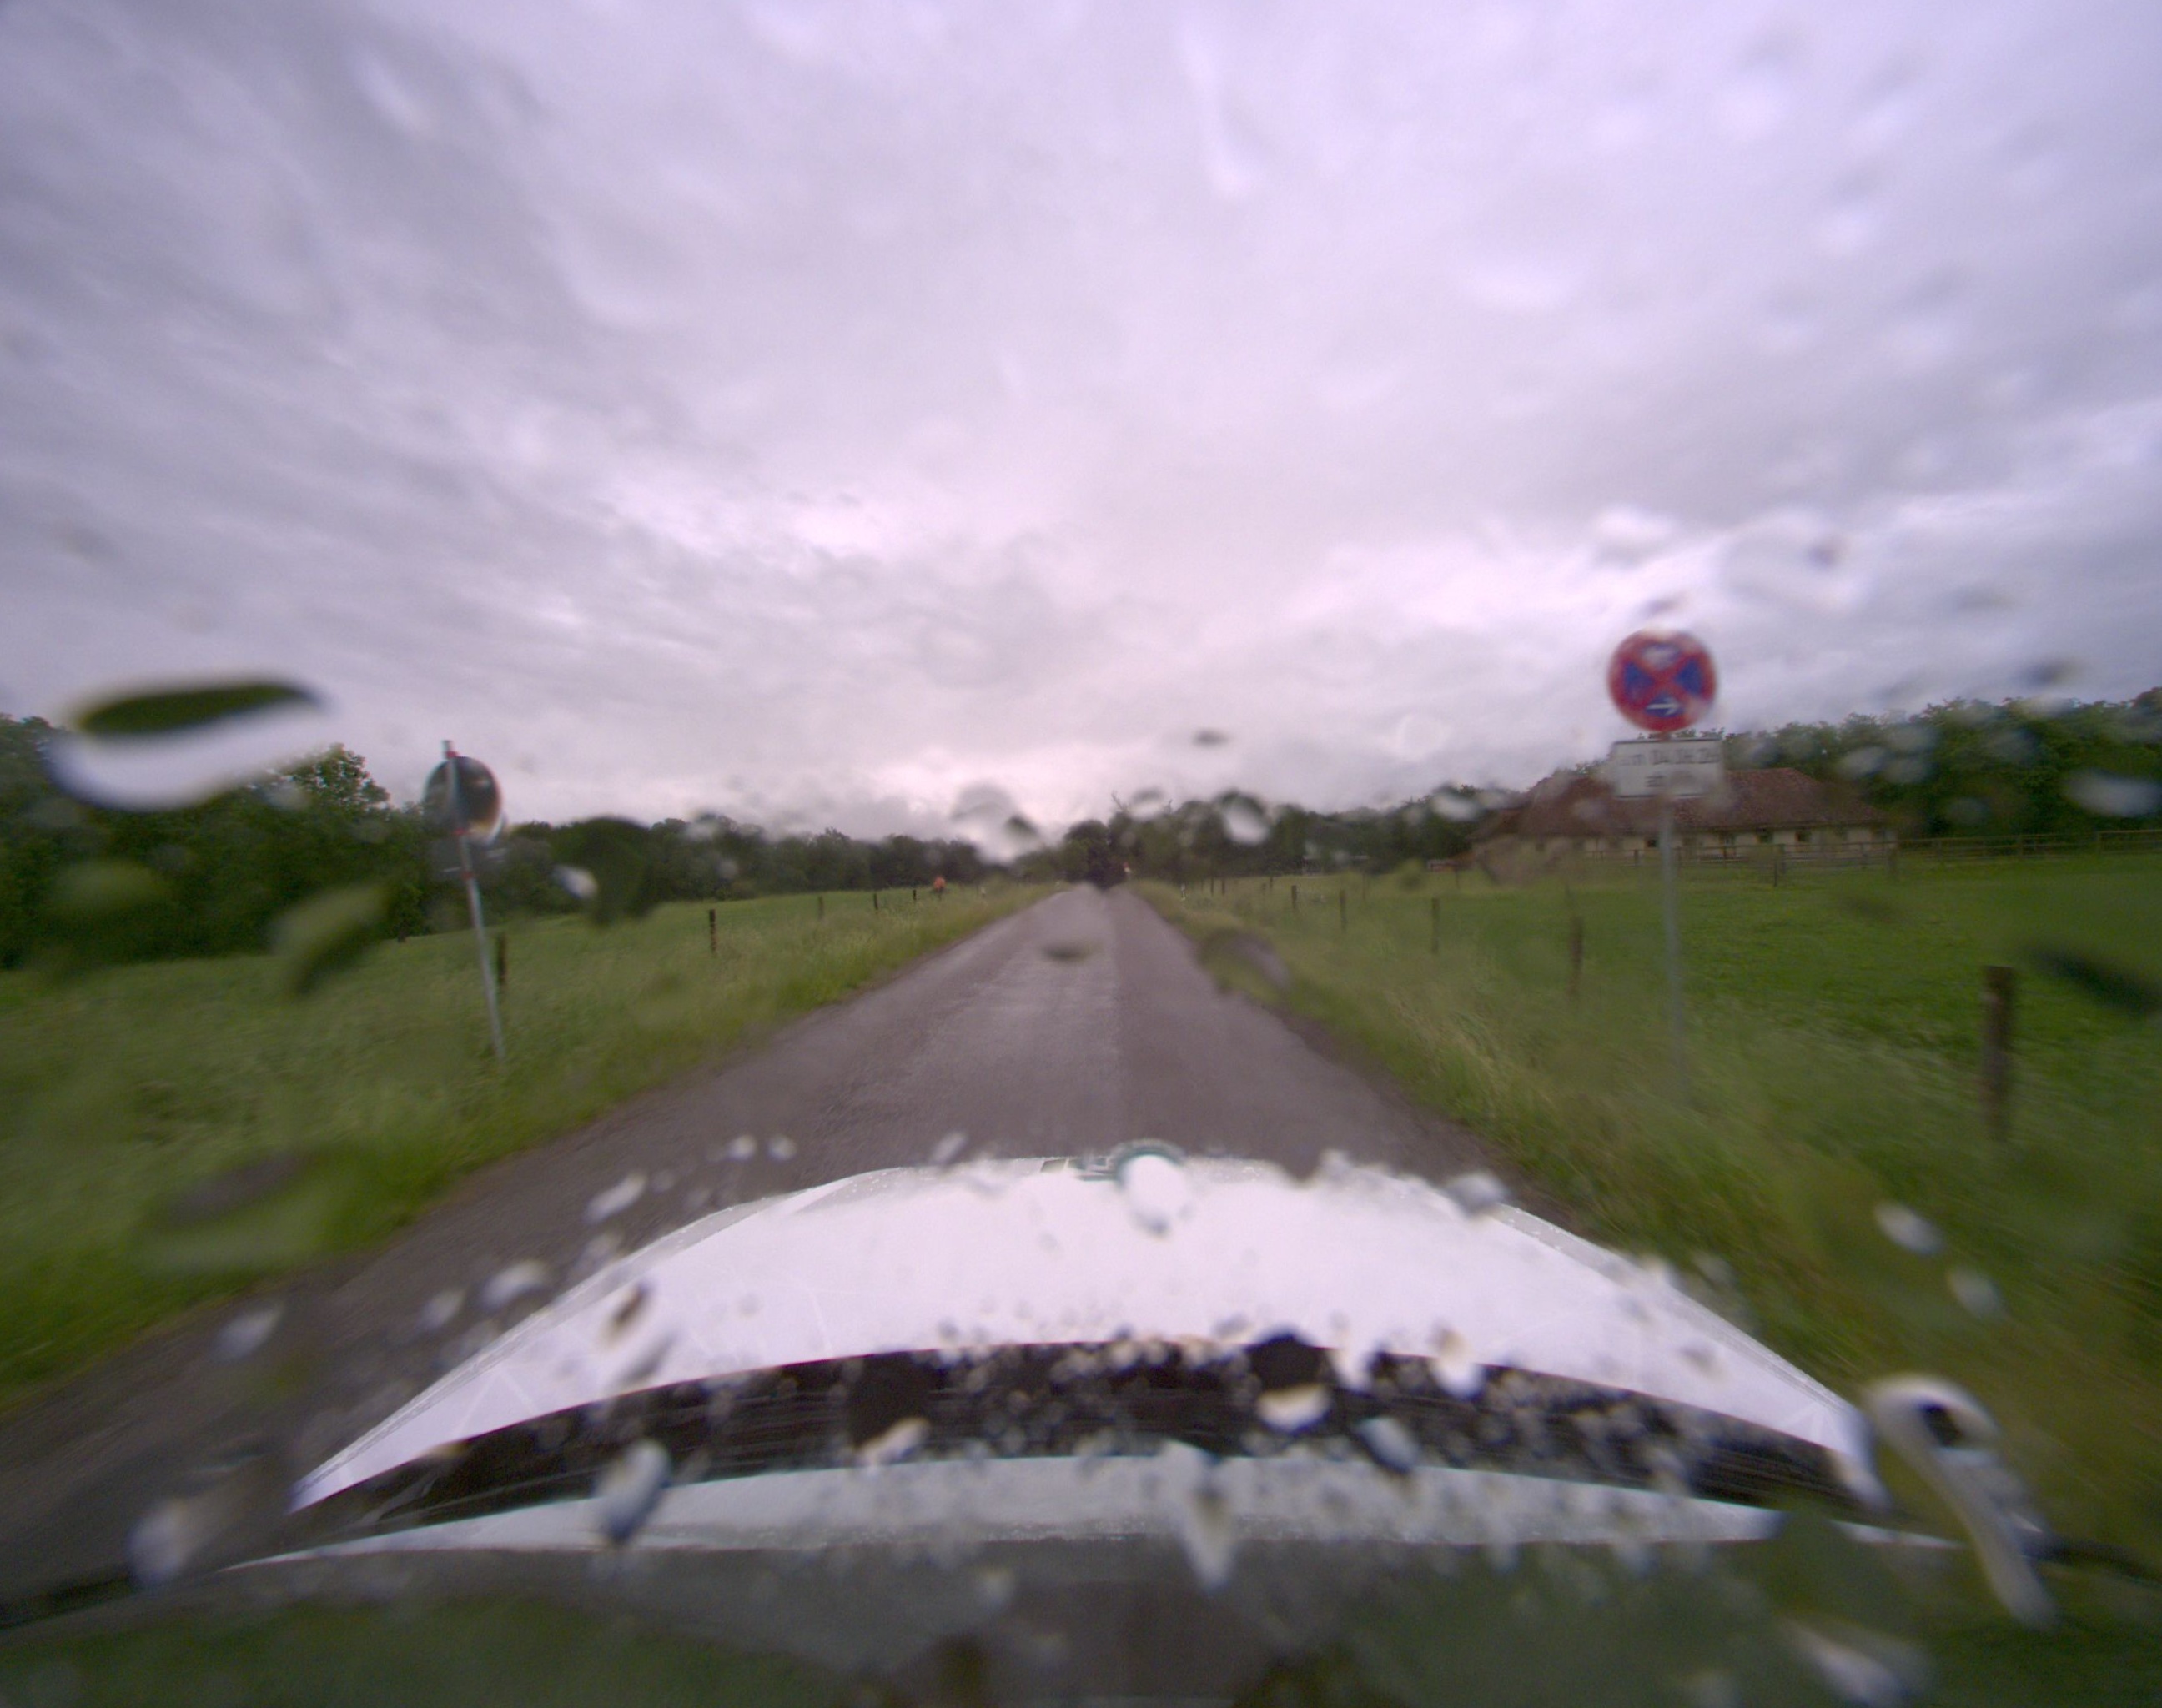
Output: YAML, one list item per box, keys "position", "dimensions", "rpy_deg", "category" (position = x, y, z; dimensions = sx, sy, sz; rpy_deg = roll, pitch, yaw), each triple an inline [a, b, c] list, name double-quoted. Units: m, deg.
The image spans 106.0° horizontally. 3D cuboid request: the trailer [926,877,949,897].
- position: [-11.796, 2.729, 67.200]
  dimensions: [1.751, 1.505, 3.080]
  rpy_deg: [-2, -1, -9]
  category: "trailer"
